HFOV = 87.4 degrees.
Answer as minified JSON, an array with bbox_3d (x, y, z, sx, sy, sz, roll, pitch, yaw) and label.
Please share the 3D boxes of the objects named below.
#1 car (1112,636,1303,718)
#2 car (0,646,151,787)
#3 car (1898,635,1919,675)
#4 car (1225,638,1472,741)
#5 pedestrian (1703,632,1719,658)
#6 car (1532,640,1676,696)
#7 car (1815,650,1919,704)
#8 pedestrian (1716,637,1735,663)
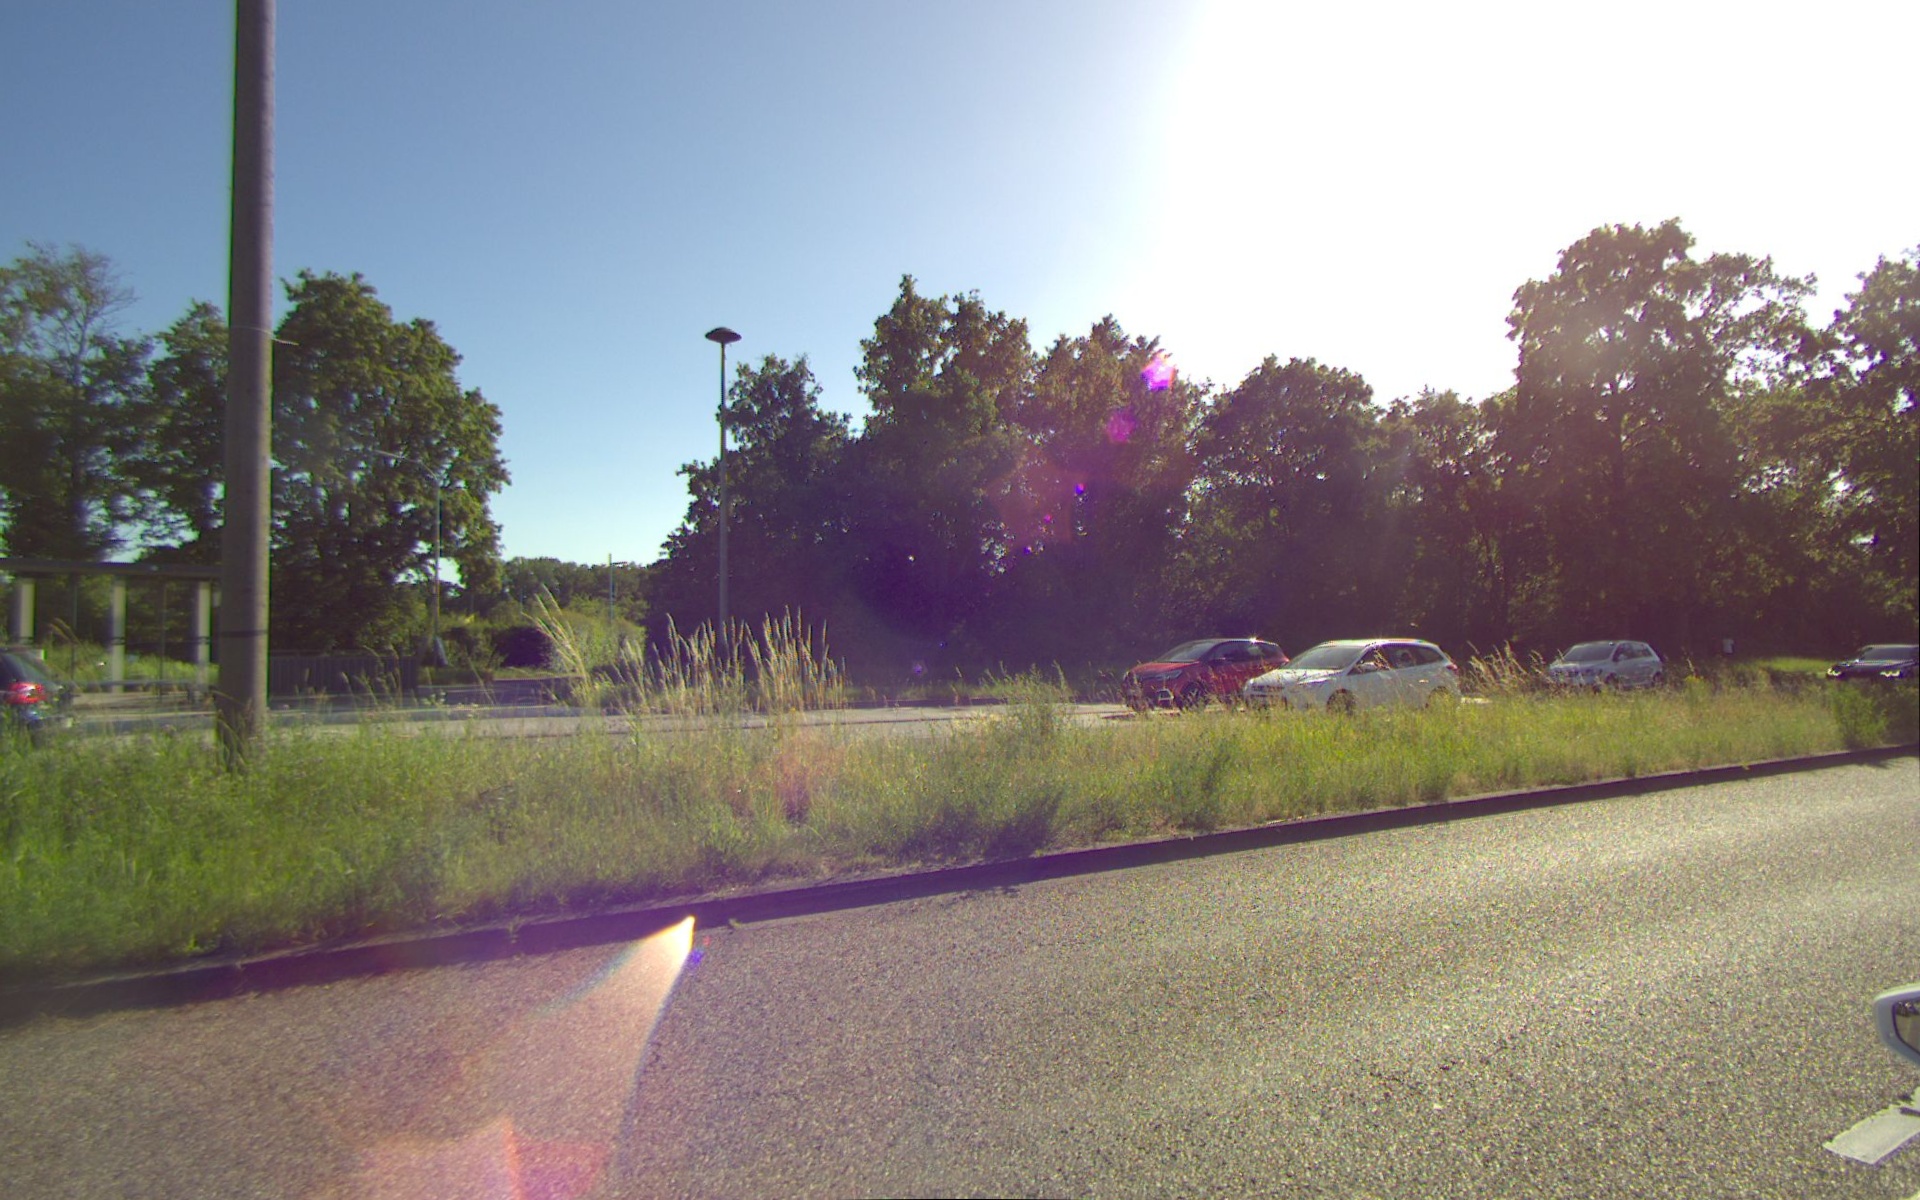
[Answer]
[{"bbox_3d":[5.287,1.590,21.344,3.955,1.583,1.596,1,-4,-32],"label":"car"},{"bbox_3d":[-12.039,1.290,11.122,4.542,1.520,1.797,1,-2,-31],"label":"car"},{"bbox_3d":[42.156,2.287,42.883,4.534,1.609,1.832,1,-7,-32],"label":"car"},{"bbox_3d":[6.877,1.492,17.701,4.305,1.623,1.706,1,-2,-29],"label":"car"},{"bbox_3d":[42.752,2.567,57.185,0.589,1.479,0.542,1,-1,-30],"label":"pedestrian"},{"bbox_3d":[18.182,1.878,28.335,4.015,1.491,1.706,1,-3,-29],"label":"car"},{"bbox_3d":[26.746,2.170,29.096,4.200,1.413,1.694,1,-2,-30],"label":"car"},{"bbox_3d":[43.045,2.815,56.478,0.906,1.479,0.542,1,-2,-30],"label":"pedestrian"}]
